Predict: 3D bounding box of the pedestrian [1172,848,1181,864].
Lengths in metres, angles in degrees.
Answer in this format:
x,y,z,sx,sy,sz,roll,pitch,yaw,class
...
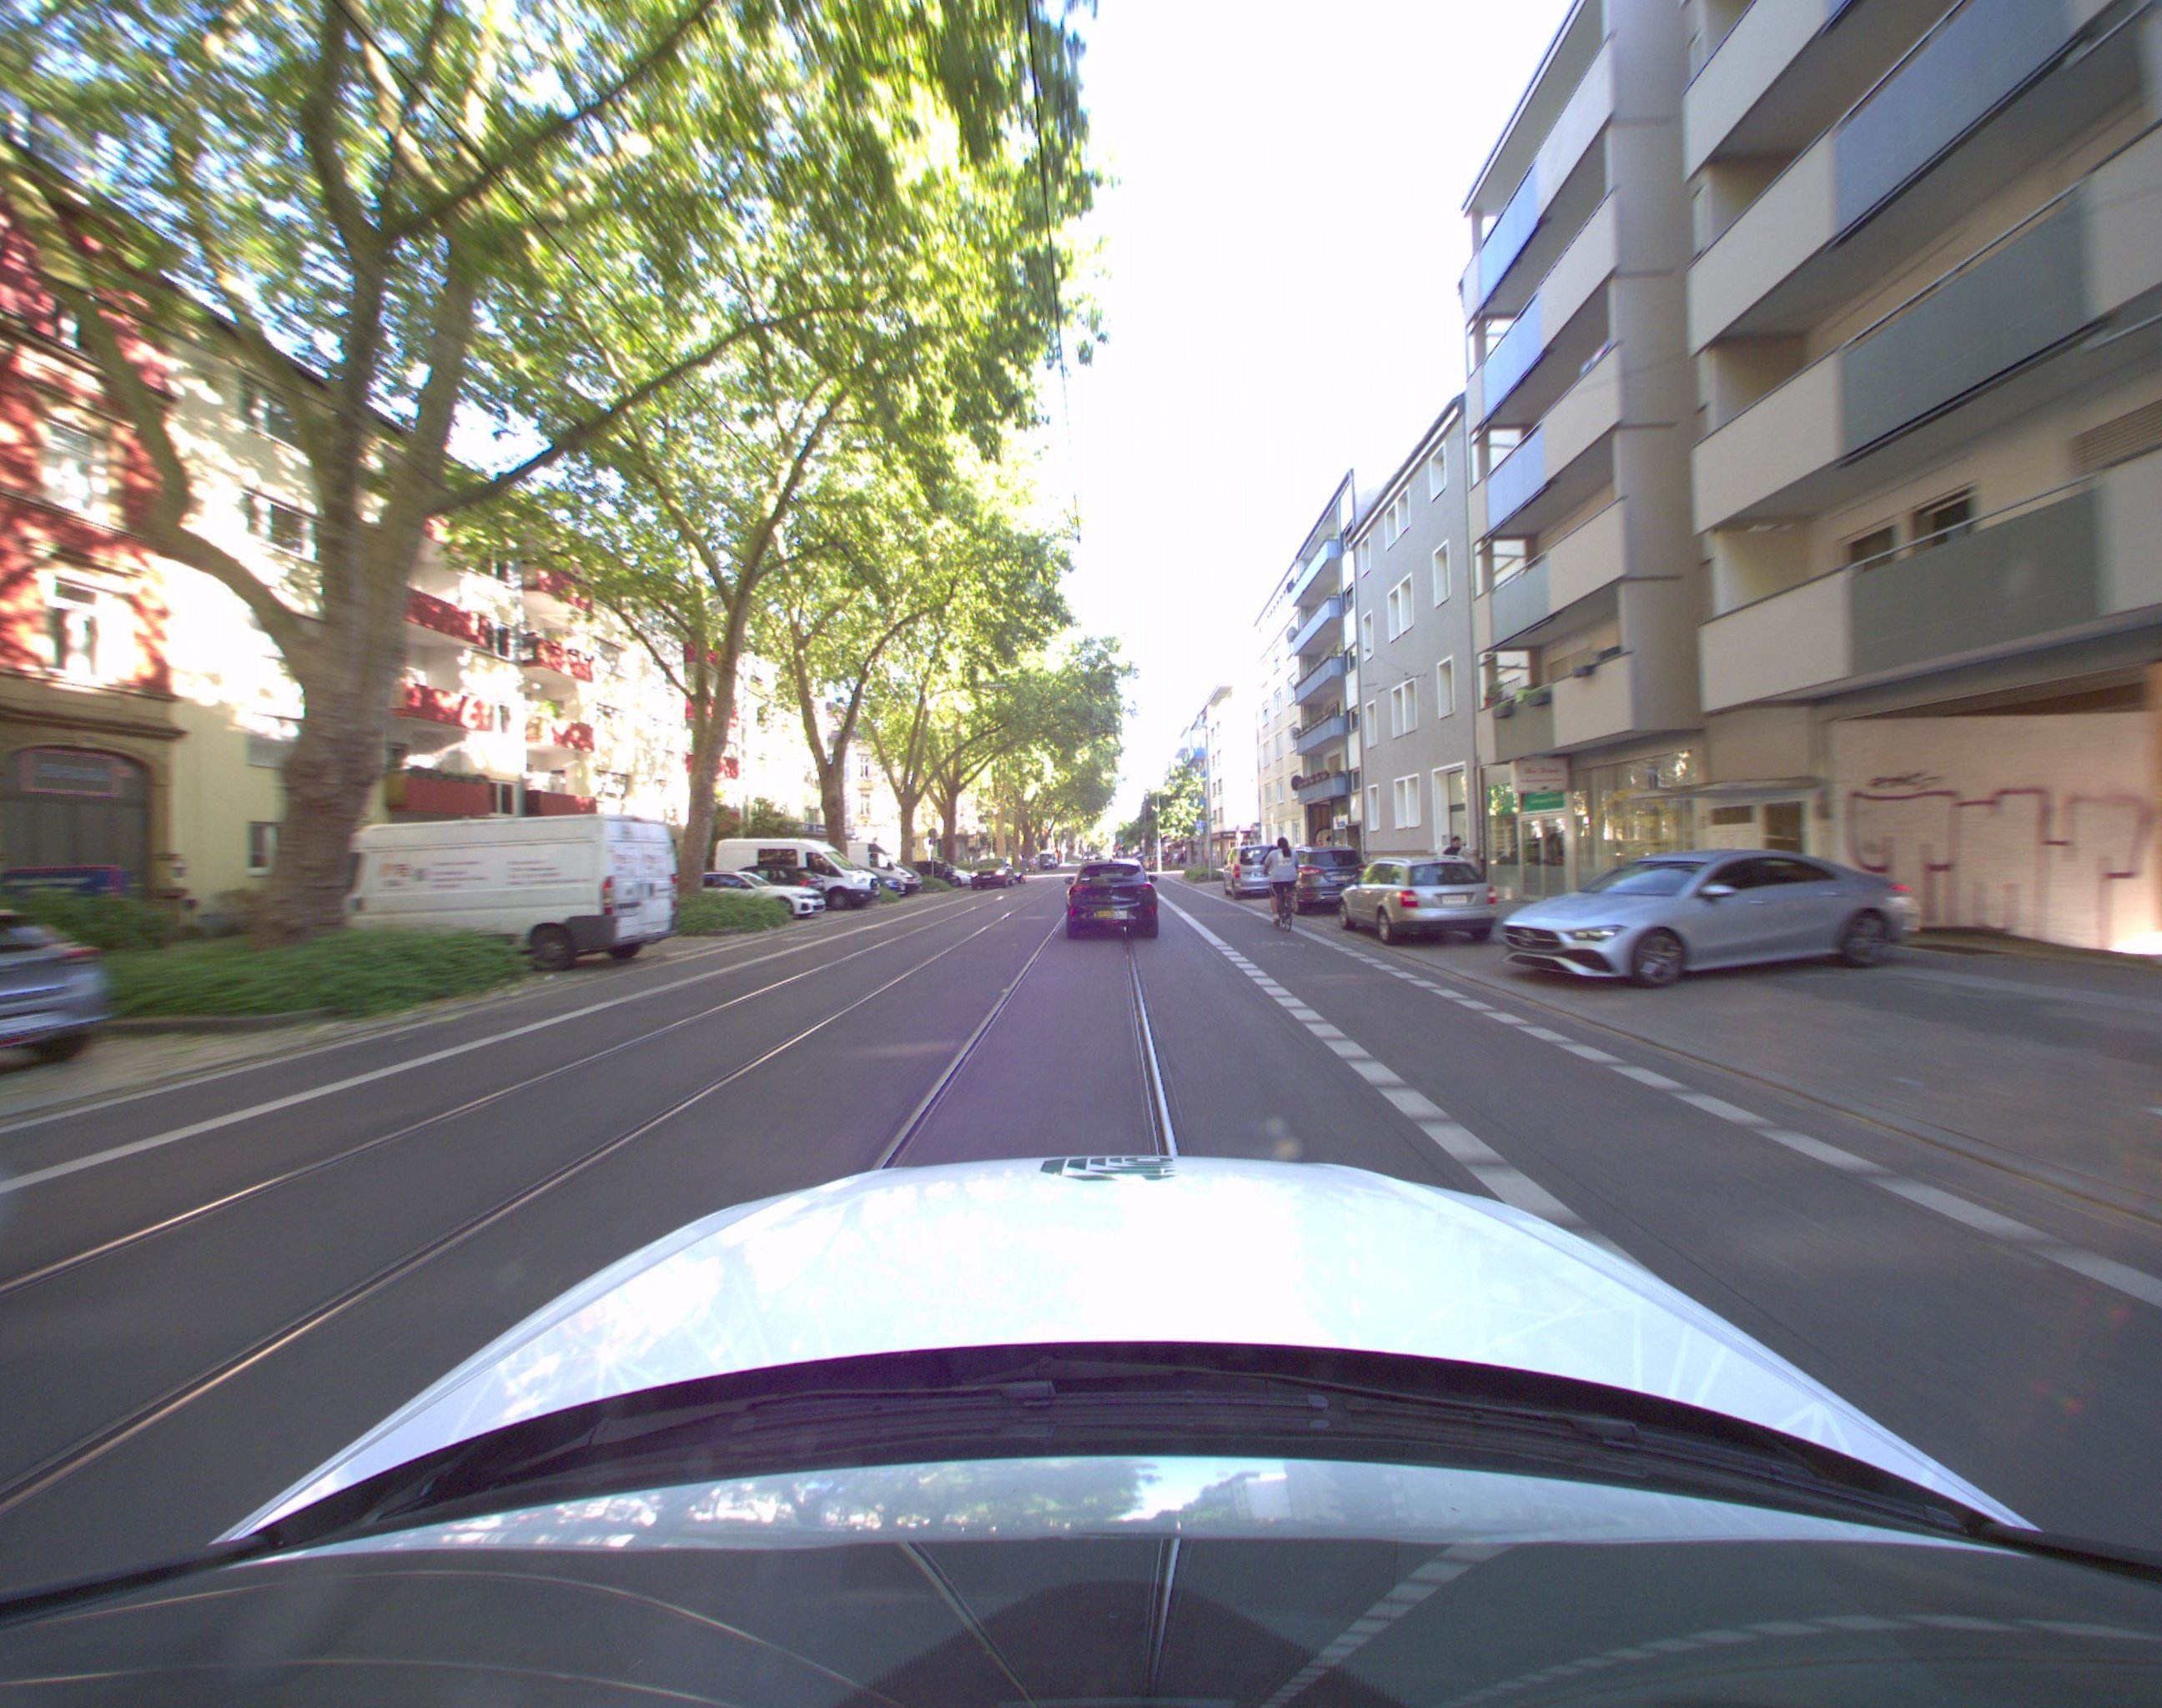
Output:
x,y,z,sx,sy,sz,roll,pitch,yaw,class
10.545,0.265,89.997,0.762,1.748,0.799,-2,0,16,pedestrian

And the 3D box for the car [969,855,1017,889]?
x,y,z,sx,sy,sz,roll,pitch,yaw,class
-4.900,0.965,45.827,1.986,1.700,4.486,-3,0,2,car

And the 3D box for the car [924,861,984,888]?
x,y,z,sx,sy,sz,roll,pitch,yaw,class
-7.804,1.261,50.204,3.421,1.530,1.786,-2,0,-2,car

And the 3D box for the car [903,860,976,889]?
x,y,z,sx,sy,sz,roll,pitch,yaw,class
-8.337,1.193,48.259,3.973,1.522,1.771,-2,0,0,car

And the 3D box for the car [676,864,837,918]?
x,y,z,sx,sy,sz,roll,pitch,yaw,class
-10.306,1.158,26.099,4.354,1.539,1.873,-1,0,1,car

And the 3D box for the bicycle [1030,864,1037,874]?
x,y,z,sx,sy,sz,roll,pitch,yaw,class
-4.677,1.490,80.452,0.518,0.962,1.929,-2,0,1,bicycle

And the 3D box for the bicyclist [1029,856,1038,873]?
x,y,z,sx,sy,sz,roll,pitch,yaw,class
-4.639,1.011,80.327,0.782,1.678,0.957,-2,0,0,bicyclist

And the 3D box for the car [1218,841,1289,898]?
x,y,z,sx,sy,sz,roll,pitch,yaw,class
6.313,0.523,30.303,1.850,1.890,4.929,-2,0,4,car

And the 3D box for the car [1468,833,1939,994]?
x,y,z,sx,sy,sz,roll,pitch,yaw,class
7.411,0.623,9.891,4.613,1.437,1.858,-4,0,-10,car

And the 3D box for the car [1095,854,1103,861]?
x,y,z,sx,sy,sz,roll,pitch,yaw,class
4.355,0.823,196.991,1.742,1.651,4.004,-2,0,4,car

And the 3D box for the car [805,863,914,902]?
x,y,z,sx,sy,sz,roll,pitch,yaw,class
-9.316,1.179,34.468,4.003,1.466,1.873,-1,0,2,car

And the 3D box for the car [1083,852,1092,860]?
x,y,z,sx,sy,sz,roll,pitch,yaw,class
1.732,0.503,214.098,1.988,2.211,5.098,-2,0,-2,car

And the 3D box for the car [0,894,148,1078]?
x,y,z,sx,sy,sz,roll,pitch,yaw,class
-10.565,1.132,6.764,3.792,1.432,1.706,-2,0,3,car

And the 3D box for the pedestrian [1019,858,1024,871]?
x,y,z,sx,sy,sz,roll,pitch,yaw,class
-7.028,1.251,96.566,0.507,1.583,0.524,-2,-1,-15,pedestrian

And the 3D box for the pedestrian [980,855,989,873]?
x,y,z,sx,sy,sz,roll,pitch,yaw,class
-10.364,1.102,87.325,0.903,1.869,0.643,-2,0,-4,pedestrian

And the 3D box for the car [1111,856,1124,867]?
x,y,z,sx,sy,sz,roll,pitch,yaw,class
5.685,1.165,125.912,1.850,1.651,4.004,-2,0,4,car

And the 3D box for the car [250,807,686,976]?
x,y,z,sx,sy,sz,roll,pitch,yaw,class
-10.080,0.587,13.754,5.718,2.536,2.163,-1,0,2,car

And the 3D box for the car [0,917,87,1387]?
x,y,z,sx,sy,sz,roll,pitch,yaw,class
-4.139,0.903,0.382,1.711,1.359,4.473,-2,0,3,car

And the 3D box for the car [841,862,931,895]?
x,y,z,sx,sy,sz,roll,pitch,yaw,class
-9.474,1.174,39.775,3.841,1.478,1.861,-2,0,0,car

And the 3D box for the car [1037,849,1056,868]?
x,y,z,sx,sy,sz,roll,pitch,yaw,class
-4.779,0.604,112.386,2.084,2.584,5.999,-2,0,2,car

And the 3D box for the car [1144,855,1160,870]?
x,y,z,sx,sy,sz,roll,pitch,yaw,class
7.764,0.870,89.378,1.644,1.574,3.086,-2,0,4,car

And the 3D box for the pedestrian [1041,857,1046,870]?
x,y,z,sx,sy,sz,roll,pitch,yaw,class
-4.460,1.101,96.464,0.505,1.583,0.527,-2,-1,1,pedestrian

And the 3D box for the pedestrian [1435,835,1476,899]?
x,y,z,sx,sy,sz,roll,pitch,yaw,class
10.294,0.359,22.430,0.753,1.720,0.720,-2,0,0,pedestrian

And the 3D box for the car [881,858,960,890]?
x,y,z,sx,sy,sz,roll,pitch,yaw,class
-8.964,1.098,45.584,3.973,1.647,1.894,-2,0,0,car

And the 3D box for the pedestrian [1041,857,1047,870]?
x,y,z,sx,sy,sz,roll,pitch,yaw,class
-4.385,1.125,97.108,0.681,1.583,0.557,-2,-1,0,pedestrian

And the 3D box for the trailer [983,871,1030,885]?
x,y,z,sx,sy,sz,roll,pitch,yaw,class
-4.597,1.491,51.261,2.152,0.632,6.403,-2,0,2,trailer

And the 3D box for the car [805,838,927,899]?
x,y,z,sx,sy,sz,roll,pitch,yaw,class
-9.720,0.629,37.145,4.930,2.567,2.081,-2,0,-2,car

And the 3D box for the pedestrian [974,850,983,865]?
x,y,z,sx,sy,sz,roll,pitch,yaw,class
-10.833,0.359,86.153,0.845,1.632,0.643,-2,0,-4,pedestrian

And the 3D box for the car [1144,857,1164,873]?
x,y,z,sx,sy,sz,roll,pitch,yaw,class
7.604,1.138,85.337,1.712,1.490,3.681,-2,0,0,car

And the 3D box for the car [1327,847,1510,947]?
x,y,z,sx,sy,sz,roll,pitch,yaw,class
5.967,0.679,15.008,1.717,1.525,4.517,-2,0,4,car

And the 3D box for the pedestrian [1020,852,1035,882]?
x,y,z,sx,sy,sz,roll,pitch,yaw,class
-3.209,0.789,49.024,0.708,1.735,0.914,-3,0,5,pedestrian

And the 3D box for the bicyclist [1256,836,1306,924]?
x,y,z,sx,sy,sz,roll,pitch,yaw,class
4.135,0.525,16.873,0.783,1.759,0.915,-1,-1,1,bicyclist

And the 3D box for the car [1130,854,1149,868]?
x,y,z,sx,sy,sz,roll,pitch,yaw,class
7.437,0.913,104.251,1.988,1.640,3.997,-2,0,-2,car

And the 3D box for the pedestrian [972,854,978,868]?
x,y,z,sx,sy,sz,roll,pitch,yaw,class
-12.919,0.841,99.178,0.549,1.652,0.650,-2,0,5,pedestrian

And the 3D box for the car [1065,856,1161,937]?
x,y,z,sx,sy,sz,roll,pitch,yaw,class
0.615,0.767,16.155,1.673,1.422,3.629,0,0,2,car

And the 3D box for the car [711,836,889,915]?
x,y,z,sx,sy,sz,roll,pitch,yaw,class
-9.662,0.730,28.298,5.339,2.477,2.058,-2,0,2,car

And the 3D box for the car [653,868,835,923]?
x,y,z,sx,sy,sz,roll,pitch,yaw,class
-9.627,1.169,23.492,4.393,1.384,1.934,-1,0,1,car

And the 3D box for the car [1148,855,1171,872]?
x,y,z,sx,sy,sz,roll,pitch,yaw,class
7.685,0.873,79.781,1.713,1.574,4.082,-2,0,-2,car

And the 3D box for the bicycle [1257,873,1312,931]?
x,y,z,sx,sy,sz,roll,pitch,yaw,class
4.183,0.959,16.867,0.698,1.092,1.991,0,-1,2,bicycle

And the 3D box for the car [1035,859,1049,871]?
x,y,z,sx,sy,sz,roll,pitch,yaw,class
-5.075,1.455,106.343,1.749,1.508,3.998,-2,0,-1,car

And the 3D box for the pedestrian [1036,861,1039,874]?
x,y,z,sx,sy,sz,roll,pitch,yaw,class
-5.179,1.599,96.601,0.345,1.583,0.508,-2,-1,0,pedestrian

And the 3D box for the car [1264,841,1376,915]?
x,y,z,sx,sy,sz,roll,pitch,yaw,class
6.176,0.578,21.553,1.760,1.705,4.284,-2,0,1,car
